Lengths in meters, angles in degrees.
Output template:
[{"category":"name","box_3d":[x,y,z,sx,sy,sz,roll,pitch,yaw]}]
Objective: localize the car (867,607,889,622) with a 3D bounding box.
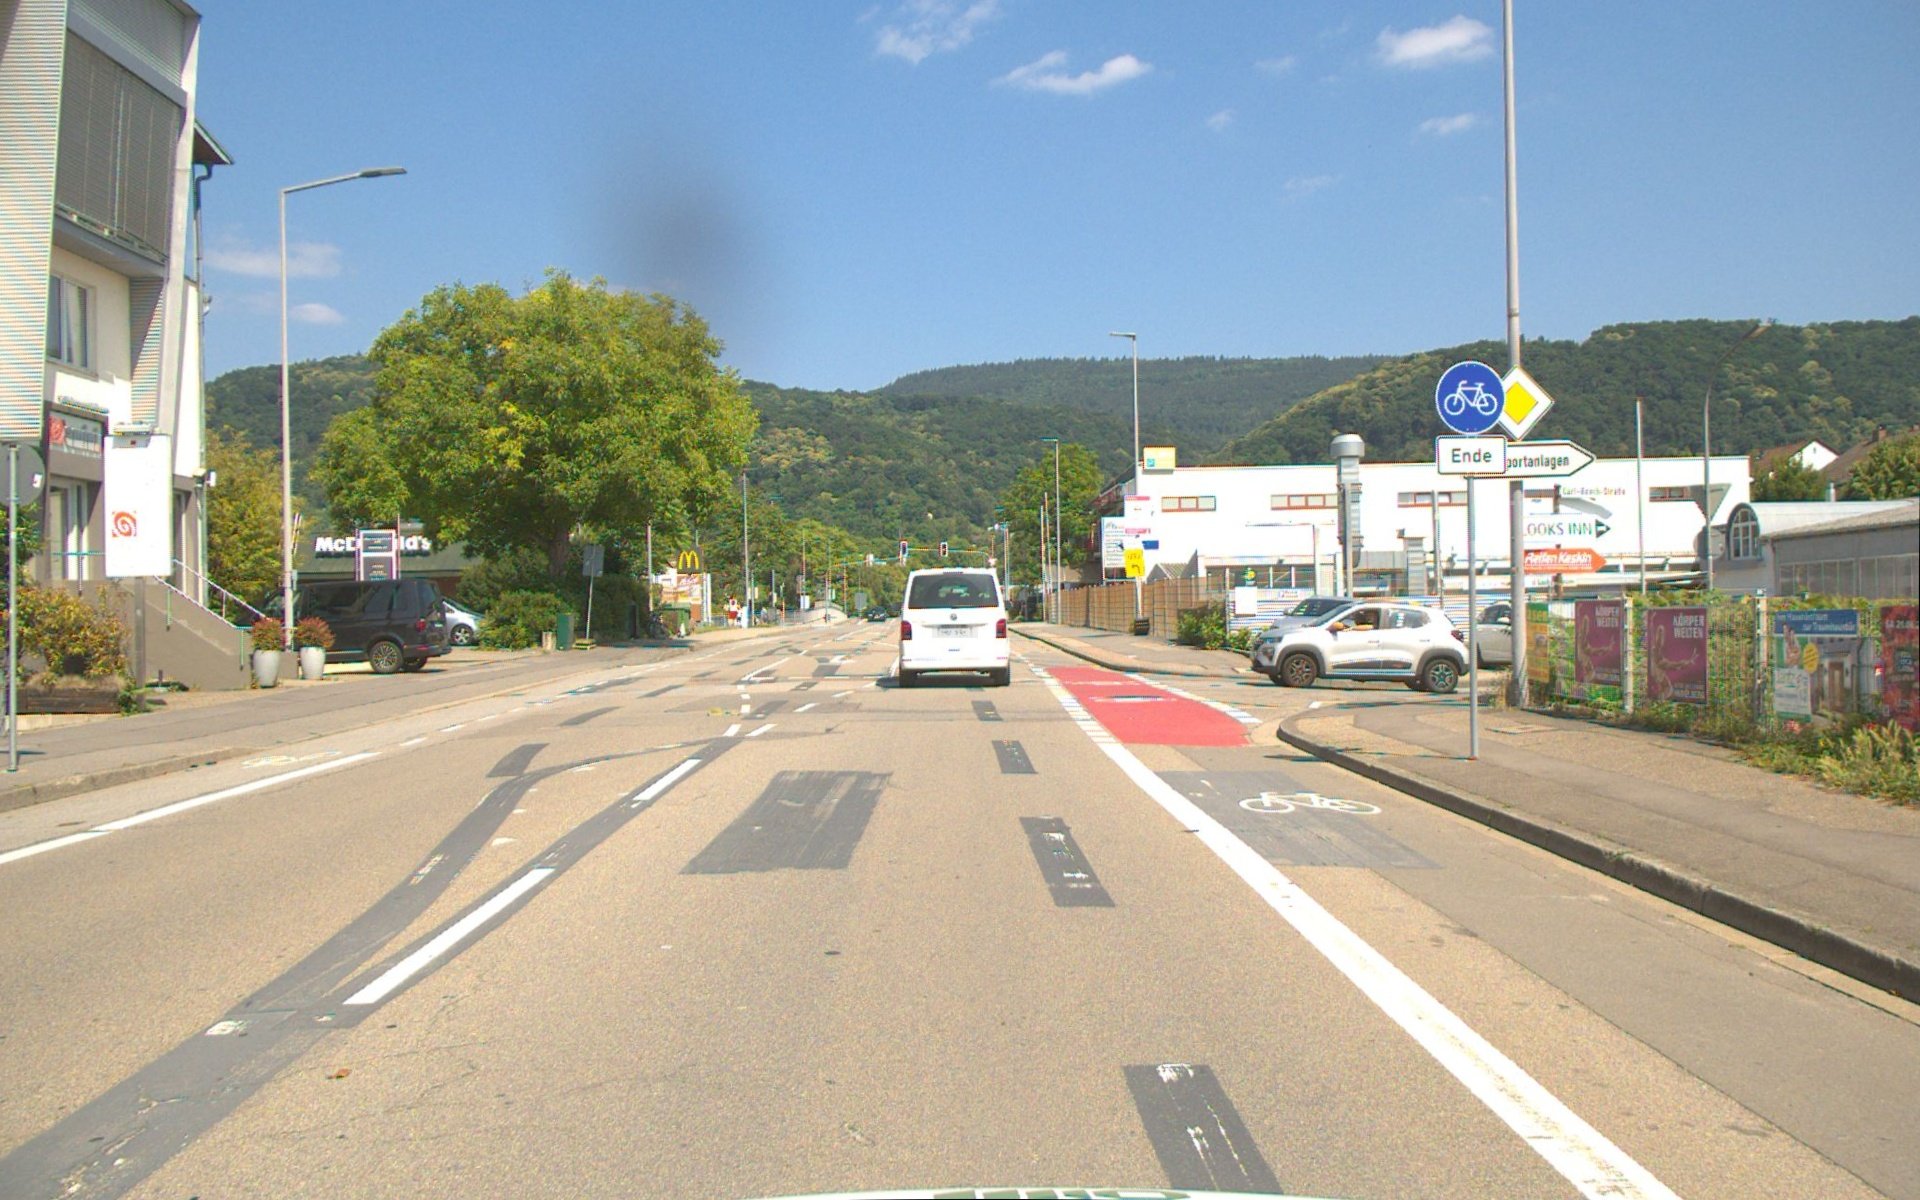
[{"category":"car","box_3d":[-7.924,1.379,159.704,1.954,1.394,4.323,-2,0,-4]}]

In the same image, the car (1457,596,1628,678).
[{"category":"car","box_3d":[11.948,0.710,34.242,1.810,1.530,4.505,-1,0,-2]}]

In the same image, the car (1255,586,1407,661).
[{"category":"car","box_3d":[7.793,0.517,34.428,1.915,1.382,4.490,3,-1,28]}]

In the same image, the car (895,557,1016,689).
[{"category":"car","box_3d":[-0.162,0.367,29.046,1.896,2.095,4.542,-1,0,-3]}]

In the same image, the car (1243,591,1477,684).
[{"category":"car","box_3d":[6.800,0.619,28.353,3.589,1.510,1.728,-1,0,0]}]

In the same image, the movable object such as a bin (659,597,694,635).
[{"category":"movable object such as a bin","box_3d":[-12.479,0.692,72.855,1.422,1.618,1.304,-2,0,-10]}]

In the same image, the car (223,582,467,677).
[{"category":"car","box_3d":[-13.047,0.601,35.332,4.478,1.898,2.090,-1,0,-6]}]

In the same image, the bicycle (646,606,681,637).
[{"category":"bicycle","box_3d":[-11.354,0.796,63.411,1.006,1.137,2.764,1,0,-4]}]

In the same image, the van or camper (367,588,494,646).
[{"category":"van or camper","box_3d":[-16.251,0.519,50.864,3.322,1.694,1.633,1,0,0]}]

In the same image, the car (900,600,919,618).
[{"category":"car","box_3d":[-4.981,0.886,164.343,1.812,1.616,3.999,-2,0,-1]}]

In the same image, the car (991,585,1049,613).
[{"category":"car","box_3d":[4.174,-0.084,114.696,3.903,1.806,2.001,-2,0,5]}]

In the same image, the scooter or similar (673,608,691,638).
[{"category":"scooter or similar","box_3d":[-11.249,0.925,67.000,0.634,1.147,1.620,2,0,-7]}]
